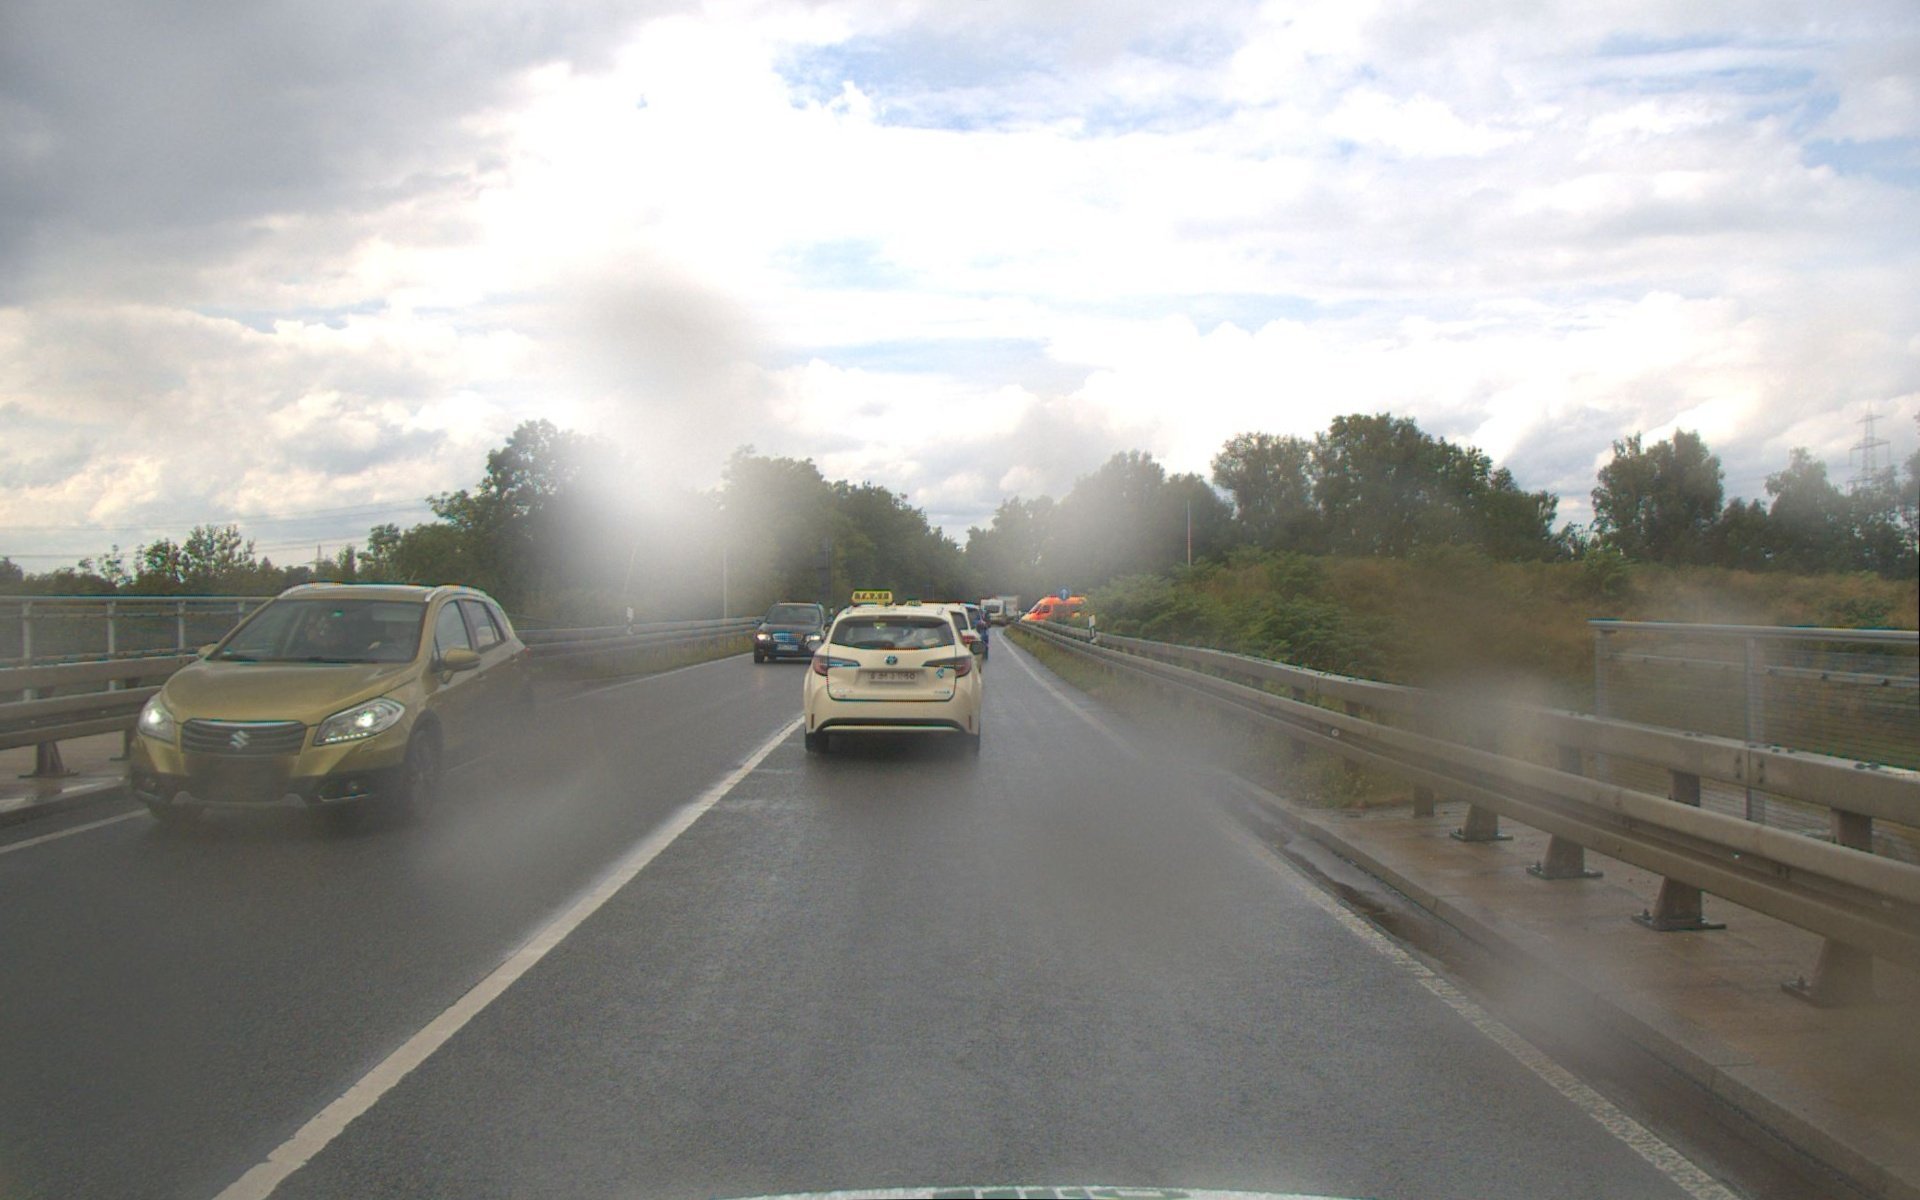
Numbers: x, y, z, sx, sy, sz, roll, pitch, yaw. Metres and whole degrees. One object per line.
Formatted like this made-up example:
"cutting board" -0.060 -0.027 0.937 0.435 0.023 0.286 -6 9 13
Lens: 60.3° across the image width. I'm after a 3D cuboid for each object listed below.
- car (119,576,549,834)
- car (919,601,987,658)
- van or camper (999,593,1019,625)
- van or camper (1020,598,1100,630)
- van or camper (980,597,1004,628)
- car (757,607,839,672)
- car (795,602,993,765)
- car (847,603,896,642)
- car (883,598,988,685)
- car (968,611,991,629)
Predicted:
"car" -4.293 0.672 12.014 1.679 1.543 3.858 1 -1 -1
"car" -0.205 0.801 46.904 1.816 1.468 4.170 1 1 -1
"van or camper" 5.764 1.007 195.411 2.284 3.625 6.307 1 0 1
"van or camper" 7.479 1.055 123.592 5.584 2.280 2.012 1 0 -15
"van or camper" 3.119 1.227 164.359 2.284 2.914 6.307 1 0 1
"car" -3.956 0.935 40.893 1.662 1.457 4.322 1 0 -1
"car" -0.634 0.778 17.451 1.816 1.418 4.170 1 1 -1
"car" -3.659 0.909 68.991 1.773 1.536 4.610 1 0 0
"car" -0.455 0.731 31.285 1.816 1.468 4.170 1 1 -1
"car" 1.703 1.686 141.482 1.815 1.468 4.172 1 0 3
